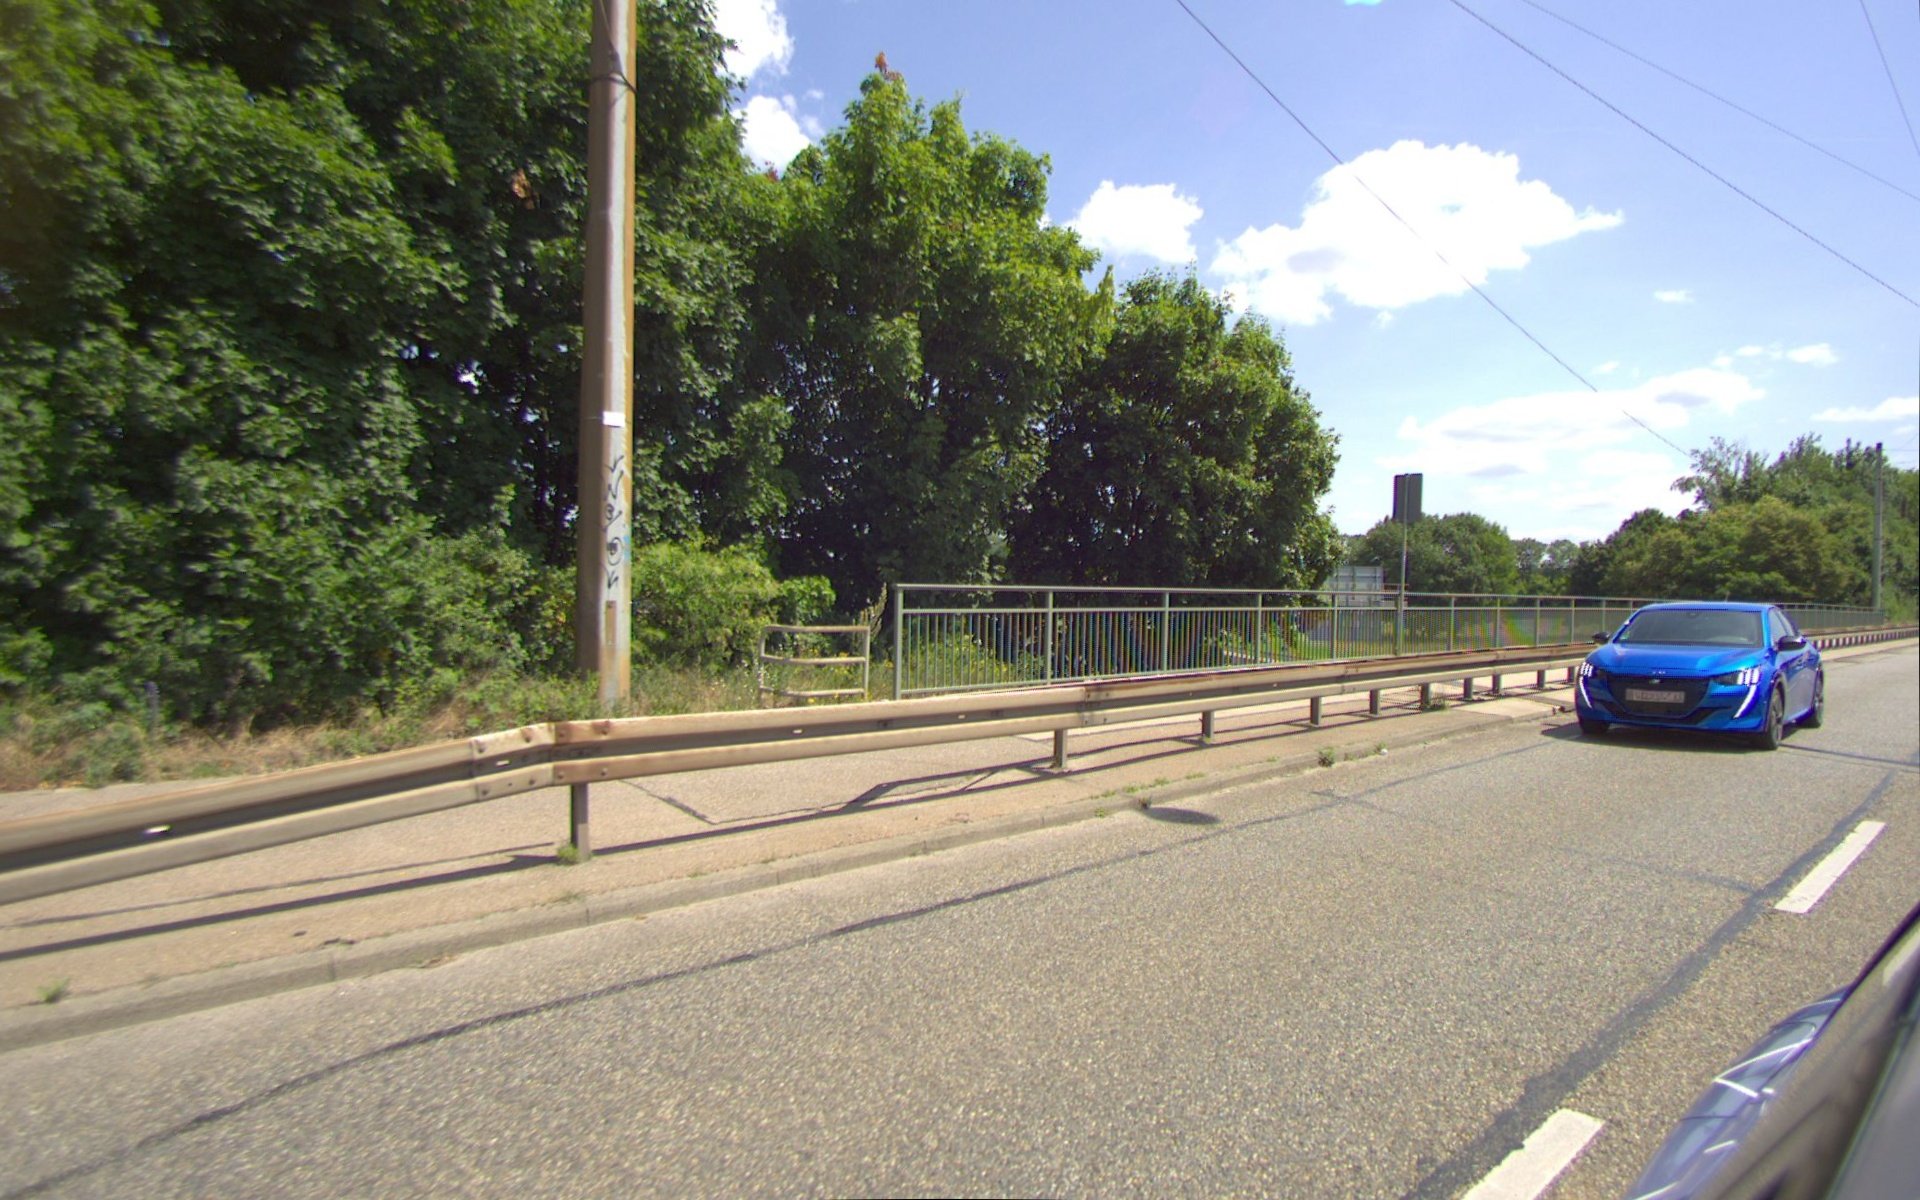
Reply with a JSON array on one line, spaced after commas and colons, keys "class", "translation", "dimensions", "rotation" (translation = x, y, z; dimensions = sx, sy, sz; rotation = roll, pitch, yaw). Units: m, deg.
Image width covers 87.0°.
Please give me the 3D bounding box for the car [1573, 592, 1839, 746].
[{"class": "car", "translation": [8.347, 0.632, 11.215], "dimensions": [3.679, 1.423, 1.658], "rotation": [0, 0, -42]}]
